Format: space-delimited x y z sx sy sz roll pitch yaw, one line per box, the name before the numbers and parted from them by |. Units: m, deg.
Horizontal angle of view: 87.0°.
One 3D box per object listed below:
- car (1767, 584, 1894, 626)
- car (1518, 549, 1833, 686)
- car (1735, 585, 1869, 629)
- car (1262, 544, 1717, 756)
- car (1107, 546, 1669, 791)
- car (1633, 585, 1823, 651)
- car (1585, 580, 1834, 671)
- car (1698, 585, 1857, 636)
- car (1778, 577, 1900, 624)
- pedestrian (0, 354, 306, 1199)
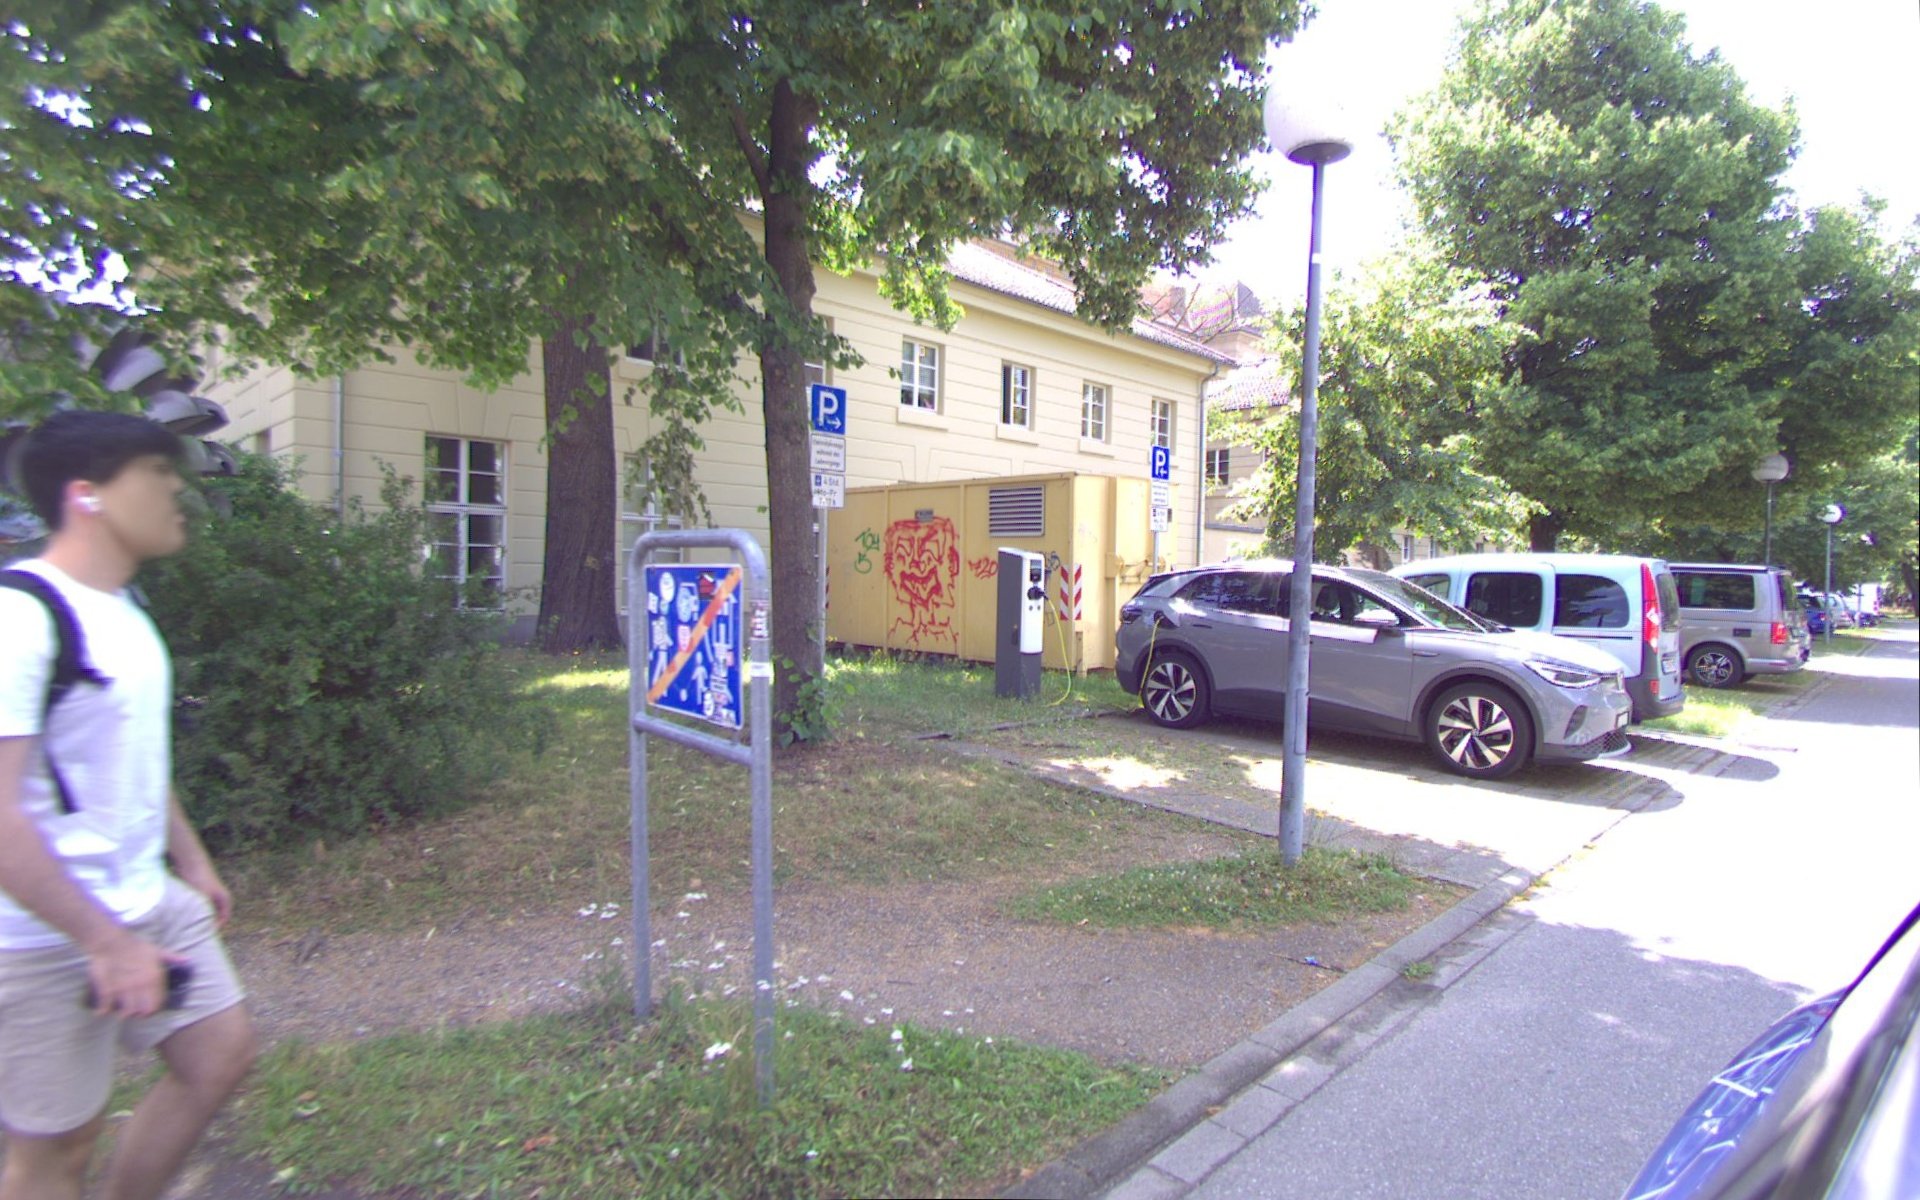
car | 36.250 0.181 42.196 1.674 1.595 3.847 0 2 -43
car | 12.043 0.189 17.209 1.967 2.038 4.044 0 2 -43
car | 33.022 0.225 39.747 1.695 1.540 3.847 0 2 -43
car | 5.542 0.366 10.921 3.989 1.860 1.795 3 2 45
car | 3.688 0.400 9.290 4.351 1.672 1.865 4 3 45
car | 20.665 0.418 27.338 1.756 1.552 3.847 0 2 -43
car | 15.261 0.438 20.743 1.756 1.614 3.847 0 2 -43
car | 26.728 0.294 33.174 1.695 1.506 3.847 0 2 -43
car | 38.226 -0.022 44.068 1.751 1.903 3.847 0 2 -43
pedestrian | -1.543 0.518 1.770 0.572 1.766 0.641 0 1 -42
